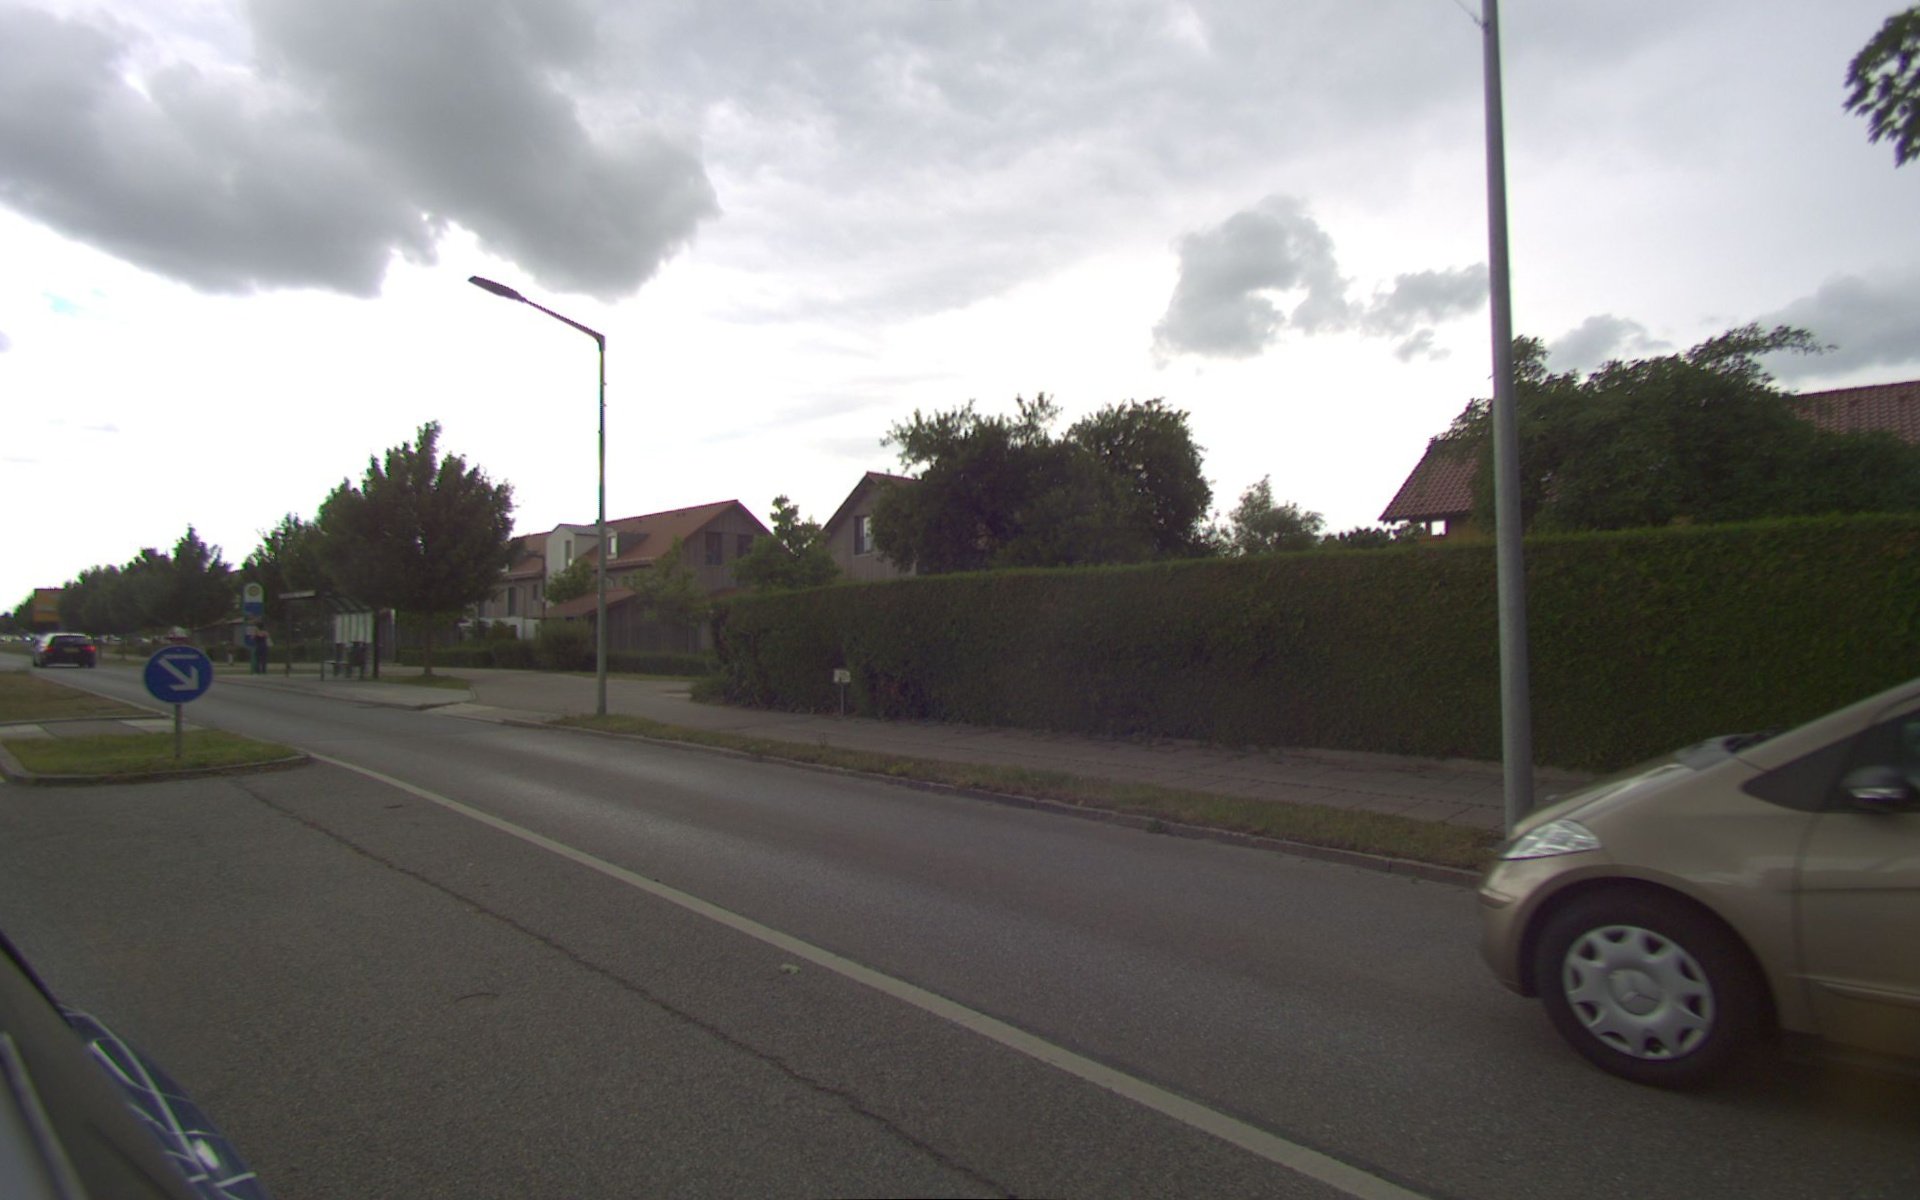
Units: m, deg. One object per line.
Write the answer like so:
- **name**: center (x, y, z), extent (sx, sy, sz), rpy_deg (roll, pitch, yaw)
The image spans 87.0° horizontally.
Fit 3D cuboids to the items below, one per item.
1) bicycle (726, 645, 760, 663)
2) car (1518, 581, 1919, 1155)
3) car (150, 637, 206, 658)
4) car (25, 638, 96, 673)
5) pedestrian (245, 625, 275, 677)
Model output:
- **bicycle**: center (-11.535, 2.884, 53.820), extent (0.419, 0.916, 1.921), rpy_deg (-2, -2, 40)
- **car**: center (3.737, 0.732, 2.785), extent (1.687, 1.544, 3.509), rpy_deg (3, -4, -44)
- **car**: center (-83.386, 5.014, 107.950), extent (4.505, 2.029, 2.002), rpy_deg (-1, 0, -44)
- **car**: center (-39.445, 2.398, 44.350), extent (4.496, 1.465, 1.899), rpy_deg (-2, -3, 43)
- **pedestrian**: center (-22.277, 1.613, 32.210), extent (0.812, 1.649, 0.582), rpy_deg (-2, -3, 42)
